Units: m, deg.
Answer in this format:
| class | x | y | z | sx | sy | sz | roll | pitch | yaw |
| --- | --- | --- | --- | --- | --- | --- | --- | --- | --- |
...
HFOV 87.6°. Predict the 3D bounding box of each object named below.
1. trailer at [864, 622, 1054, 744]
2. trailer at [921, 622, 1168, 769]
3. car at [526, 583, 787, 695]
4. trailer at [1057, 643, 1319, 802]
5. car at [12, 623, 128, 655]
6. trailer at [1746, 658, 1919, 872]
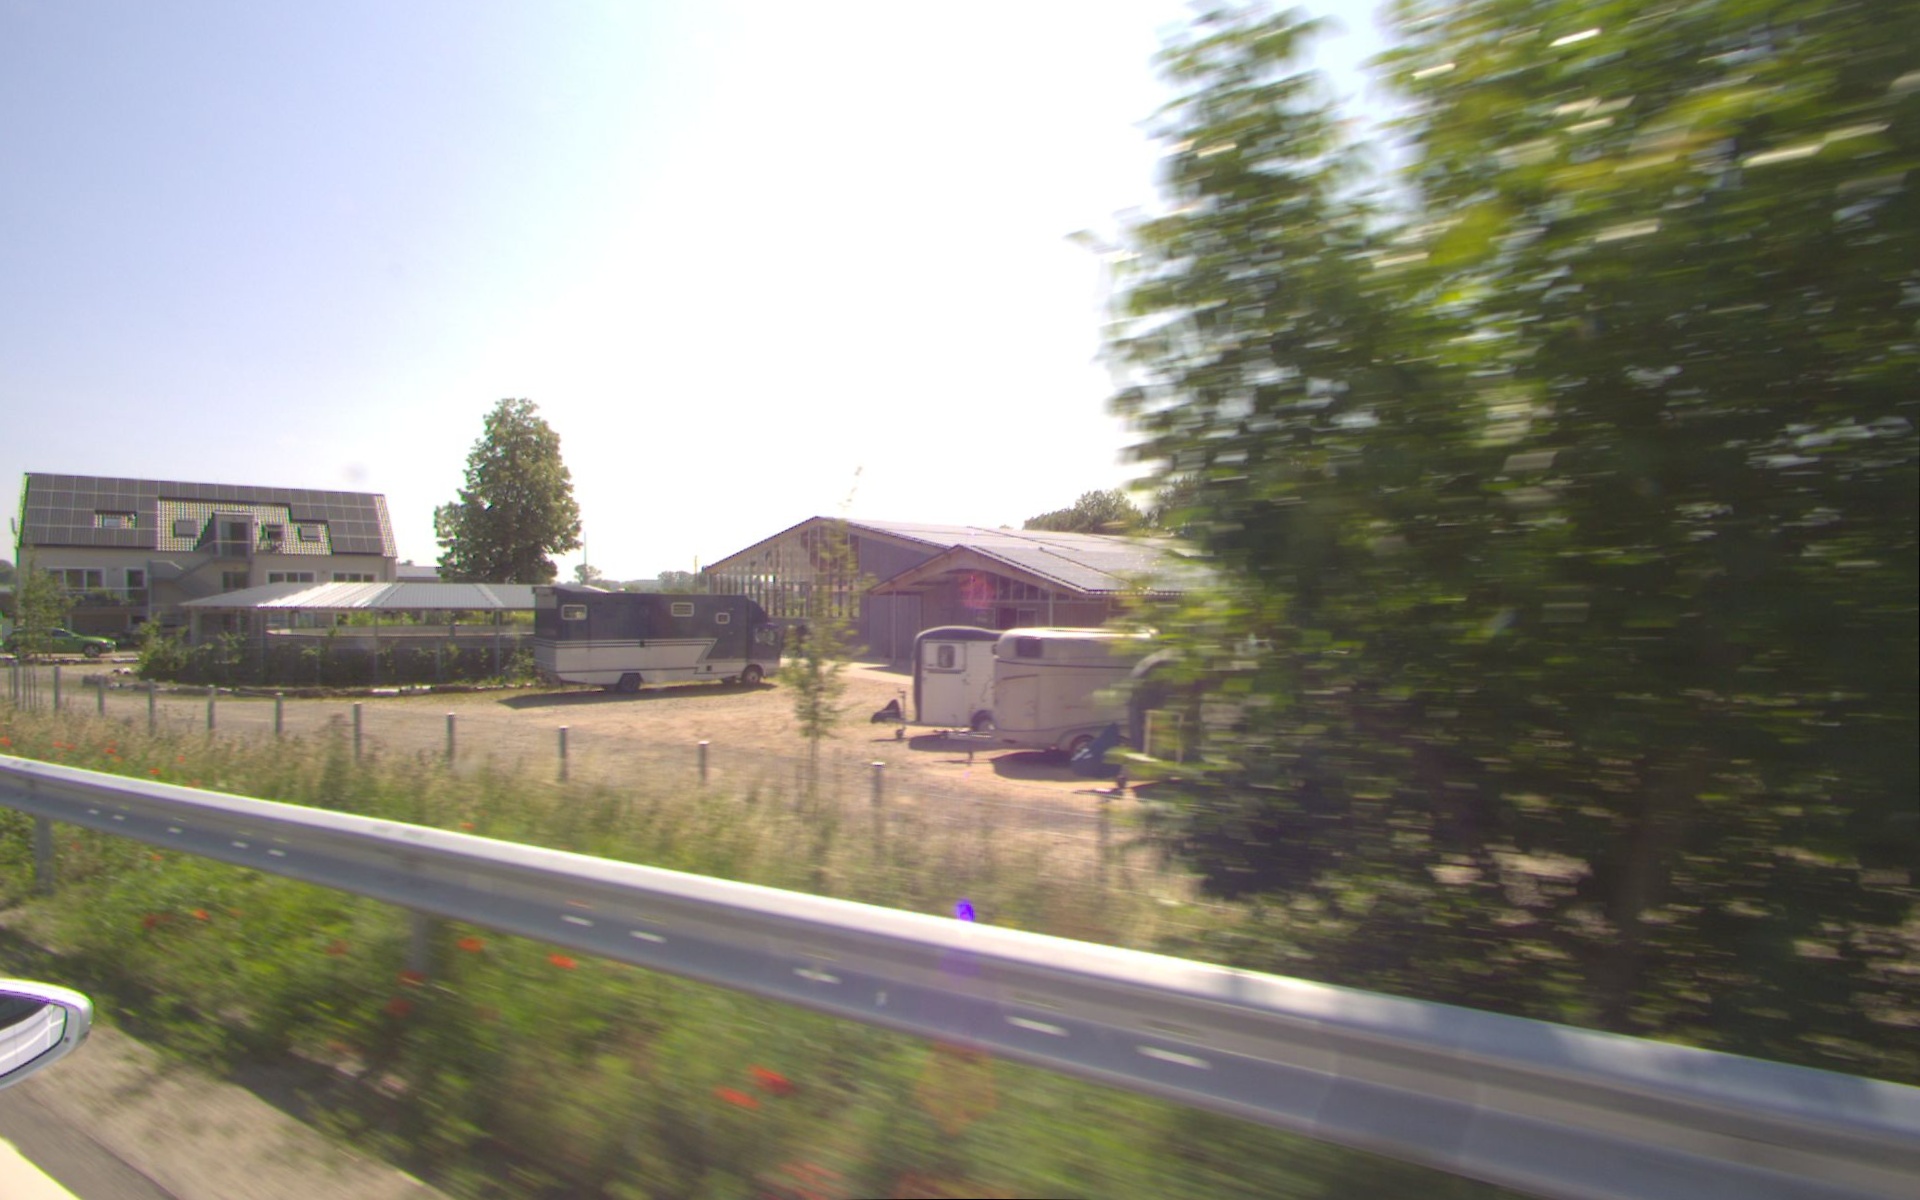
| class | x | y | z | sx | sy | sz | roll | pitch | yaw |
| --- | --- | --- | --- | --- | --- | --- | --- | --- | --- |
| trailer | -0.084 | 2.006 | 25.220 | 4.397 | 2.707 | 2.172 | -1 | 1 | -11 |
| trailer | 1.768 | 1.985 | 21.898 | 4.950 | 2.903 | 2.231 | 0 | 1 | -11 |
| car | -10.985 | 1.352 | 37.001 | 8.896 | 3.701 | 2.756 | 1 | 0 | -40 |
| trailer | 4.307 | 2.237 | 19.149 | 4.471 | 2.666 | 1.821 | 1 | 4 | -15 |
| car | -45.952 | 2.013 | 51.840 | 4.322 | 1.600 | 1.920 | 2 | -3 | -37 |
| trailer | 14.881 | 2.423 | 16.108 | 5.125 | 2.724 | 2.192 | 1 | 1 | -37 |
